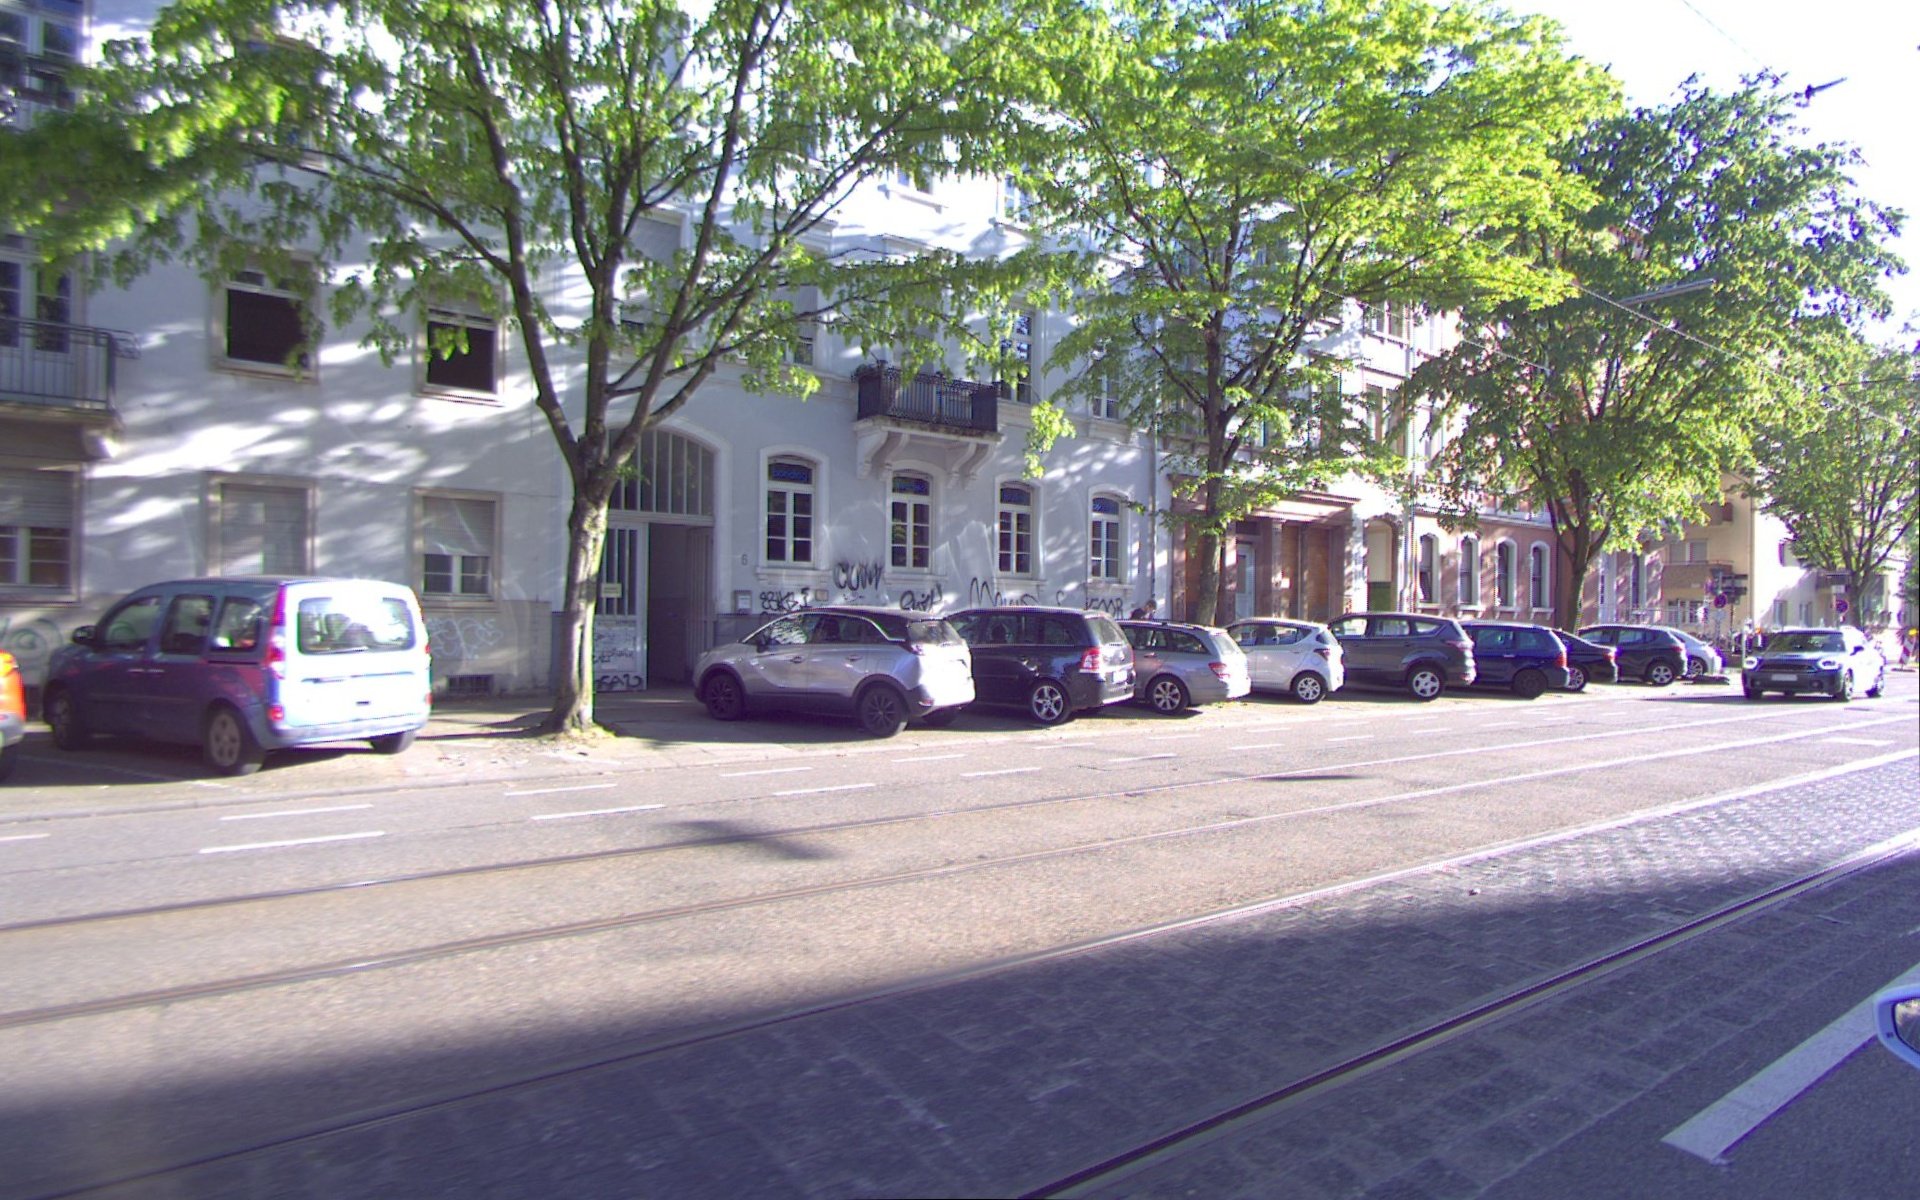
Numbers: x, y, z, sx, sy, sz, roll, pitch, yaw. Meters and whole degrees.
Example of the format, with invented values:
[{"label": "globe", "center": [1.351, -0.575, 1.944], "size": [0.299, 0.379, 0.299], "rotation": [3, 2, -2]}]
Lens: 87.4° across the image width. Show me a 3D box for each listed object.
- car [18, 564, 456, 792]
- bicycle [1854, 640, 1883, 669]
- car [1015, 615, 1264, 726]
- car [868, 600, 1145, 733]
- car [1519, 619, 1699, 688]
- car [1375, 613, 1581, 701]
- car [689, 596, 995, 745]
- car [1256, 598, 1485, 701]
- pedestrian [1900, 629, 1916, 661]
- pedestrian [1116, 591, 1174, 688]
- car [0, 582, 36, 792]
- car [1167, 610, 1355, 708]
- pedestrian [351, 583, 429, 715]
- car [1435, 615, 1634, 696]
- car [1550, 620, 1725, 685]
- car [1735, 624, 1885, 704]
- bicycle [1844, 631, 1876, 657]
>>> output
[{"label": "car", "center": [-7.468, 0.664, 10.366], "size": [4.121, 1.822, 1.785], "rotation": [3, 0, 24]}, {"label": "bicycle", "center": [36.438, 2.195, 40.285], "size": [1.385, 1.131, 0.263], "rotation": [1, -1, -22]}, {"label": "car", "center": [3.029, 1.115, 16.997], "size": [3.751, 1.505, 1.769], "rotation": [3, 0, 27]}, {"label": "car", "center": [0.700, 0.934, 15.410], "size": [3.799, 1.676, 1.771], "rotation": [2, 0, 28]}, {"label": "car", "center": [17.554, 1.407, 27.393], "size": [3.848, 1.528, 1.688], "rotation": [3, 2, 25]}, {"label": "car", "center": [11.546, 1.225, 22.677], "size": [3.908, 1.638, 1.634], "rotation": [3, 1, 21]}, {"label": "car", "center": [-1.631, 0.872, 13.824], "size": [3.799, 1.676, 1.771], "rotation": [2, 0, 27]}, {"label": "car", "center": [8.608, 0.981, 21.219], "size": [4.205, 1.745, 1.706], "rotation": [4, 1, 25]}, {"label": "pedestrian", "center": [51.040, 2.413, 54.058], "size": [0.484, 1.693, 0.509], "rotation": [1, -1, -28]}, {"label": "pedestrian", "center": [3.508, 0.737, 19.041], "size": [0.803, 1.779, 0.756], "rotation": [2, -1, -45]}, {"label": "car", "center": [-9.775, 0.615, 8.399], "size": [4.124, 1.659, 1.740], "rotation": [3, 2, 28]}, {"label": "car", "center": [5.884, 1.090, 19.617], "size": [3.219, 1.553, 1.706], "rotation": [4, 2, 25]}, {"label": "pedestrian", "center": [-7.722, 0.653, 13.634], "size": [0.860, 1.719, 0.639], "rotation": [1, -1, -29]}, {"label": "car", "center": [13.798, 1.295, 24.374], "size": [3.908, 1.638, 1.634], "rotation": [3, 1, 21]}, {"label": "car", "center": [19.717, 1.495, 29.415], "size": [3.839, 1.542, 1.735], "rotation": [3, 2, 20]}, {"label": "car", "center": [19.379, 1.380, 22.841], "size": [4.390, 1.622, 1.856], "rotation": [1, -1, -39]}, {"label": "bicycle", "center": [49.641, 2.415, 55.390], "size": [2.981, 1.416, 0.712], "rotation": [2, -1, -36]}]
